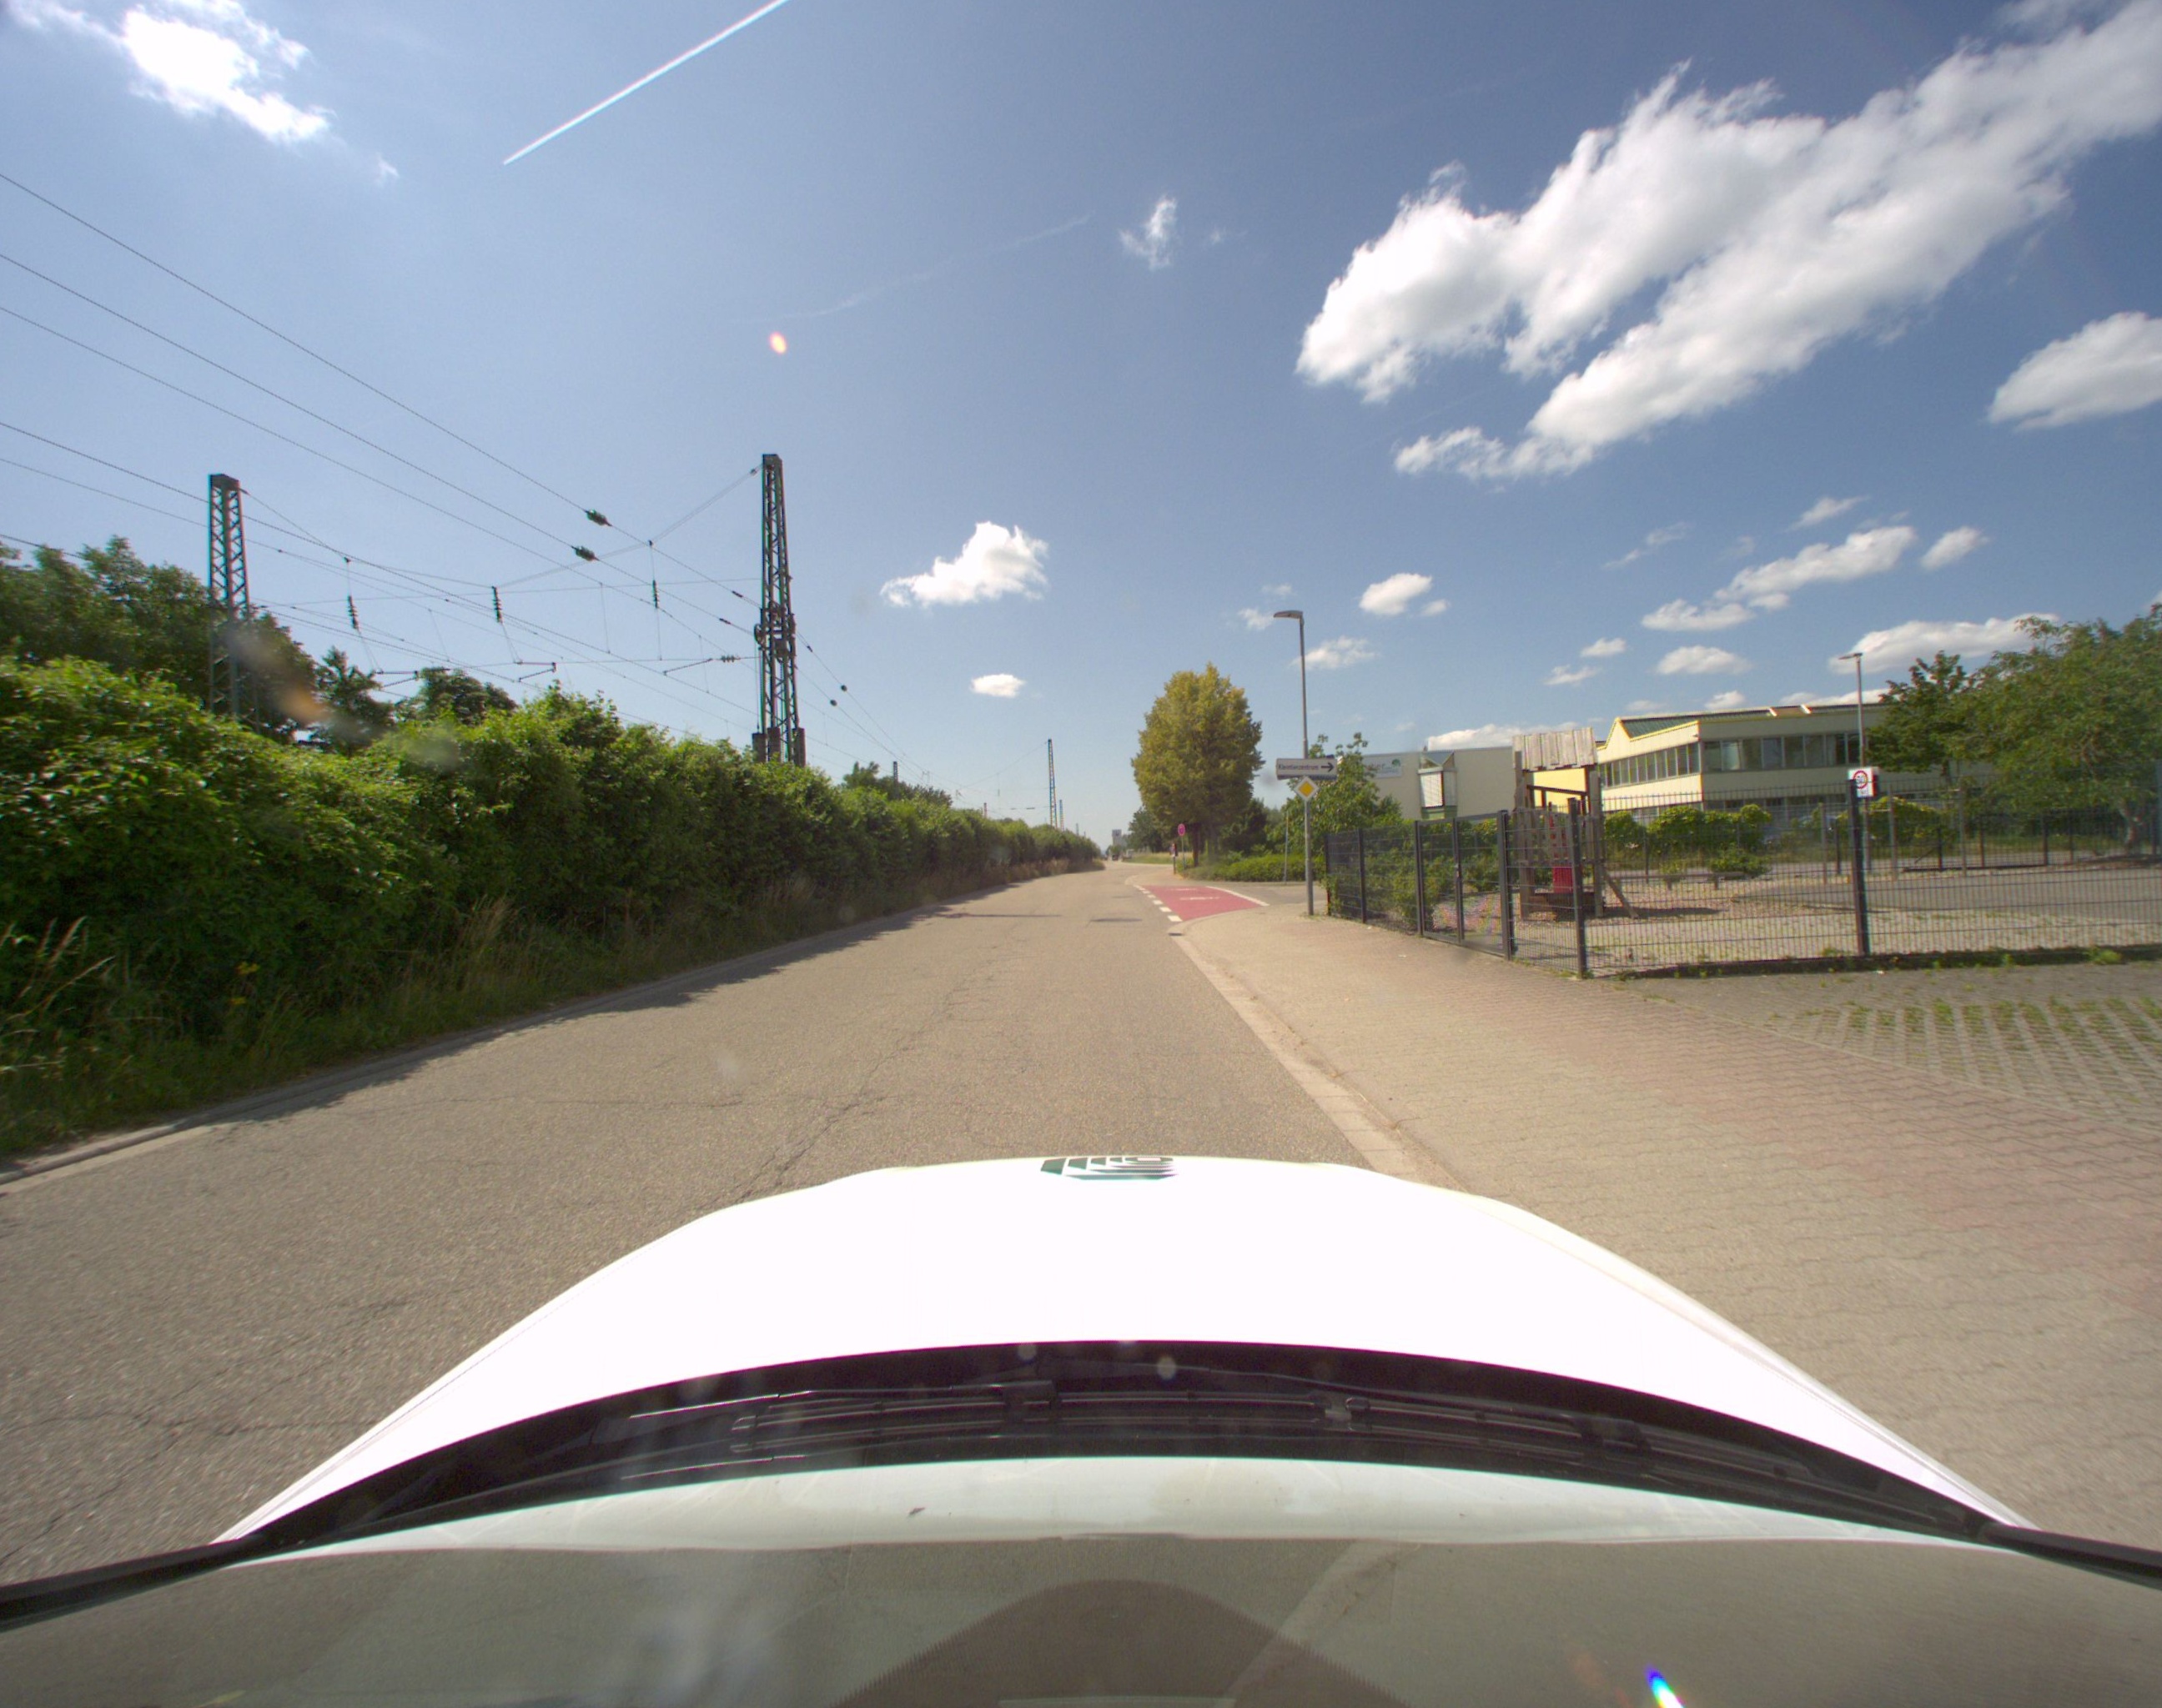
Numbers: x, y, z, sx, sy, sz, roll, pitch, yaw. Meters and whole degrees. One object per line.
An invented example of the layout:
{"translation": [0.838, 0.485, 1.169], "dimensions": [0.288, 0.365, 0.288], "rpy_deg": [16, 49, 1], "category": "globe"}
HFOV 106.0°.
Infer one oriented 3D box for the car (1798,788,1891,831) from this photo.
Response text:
{"translation": [44.344, -2.538, 47.423], "dimensions": [1.981, 2.014, 4.010], "rpy_deg": [-3, -3, 10], "category": "car"}
